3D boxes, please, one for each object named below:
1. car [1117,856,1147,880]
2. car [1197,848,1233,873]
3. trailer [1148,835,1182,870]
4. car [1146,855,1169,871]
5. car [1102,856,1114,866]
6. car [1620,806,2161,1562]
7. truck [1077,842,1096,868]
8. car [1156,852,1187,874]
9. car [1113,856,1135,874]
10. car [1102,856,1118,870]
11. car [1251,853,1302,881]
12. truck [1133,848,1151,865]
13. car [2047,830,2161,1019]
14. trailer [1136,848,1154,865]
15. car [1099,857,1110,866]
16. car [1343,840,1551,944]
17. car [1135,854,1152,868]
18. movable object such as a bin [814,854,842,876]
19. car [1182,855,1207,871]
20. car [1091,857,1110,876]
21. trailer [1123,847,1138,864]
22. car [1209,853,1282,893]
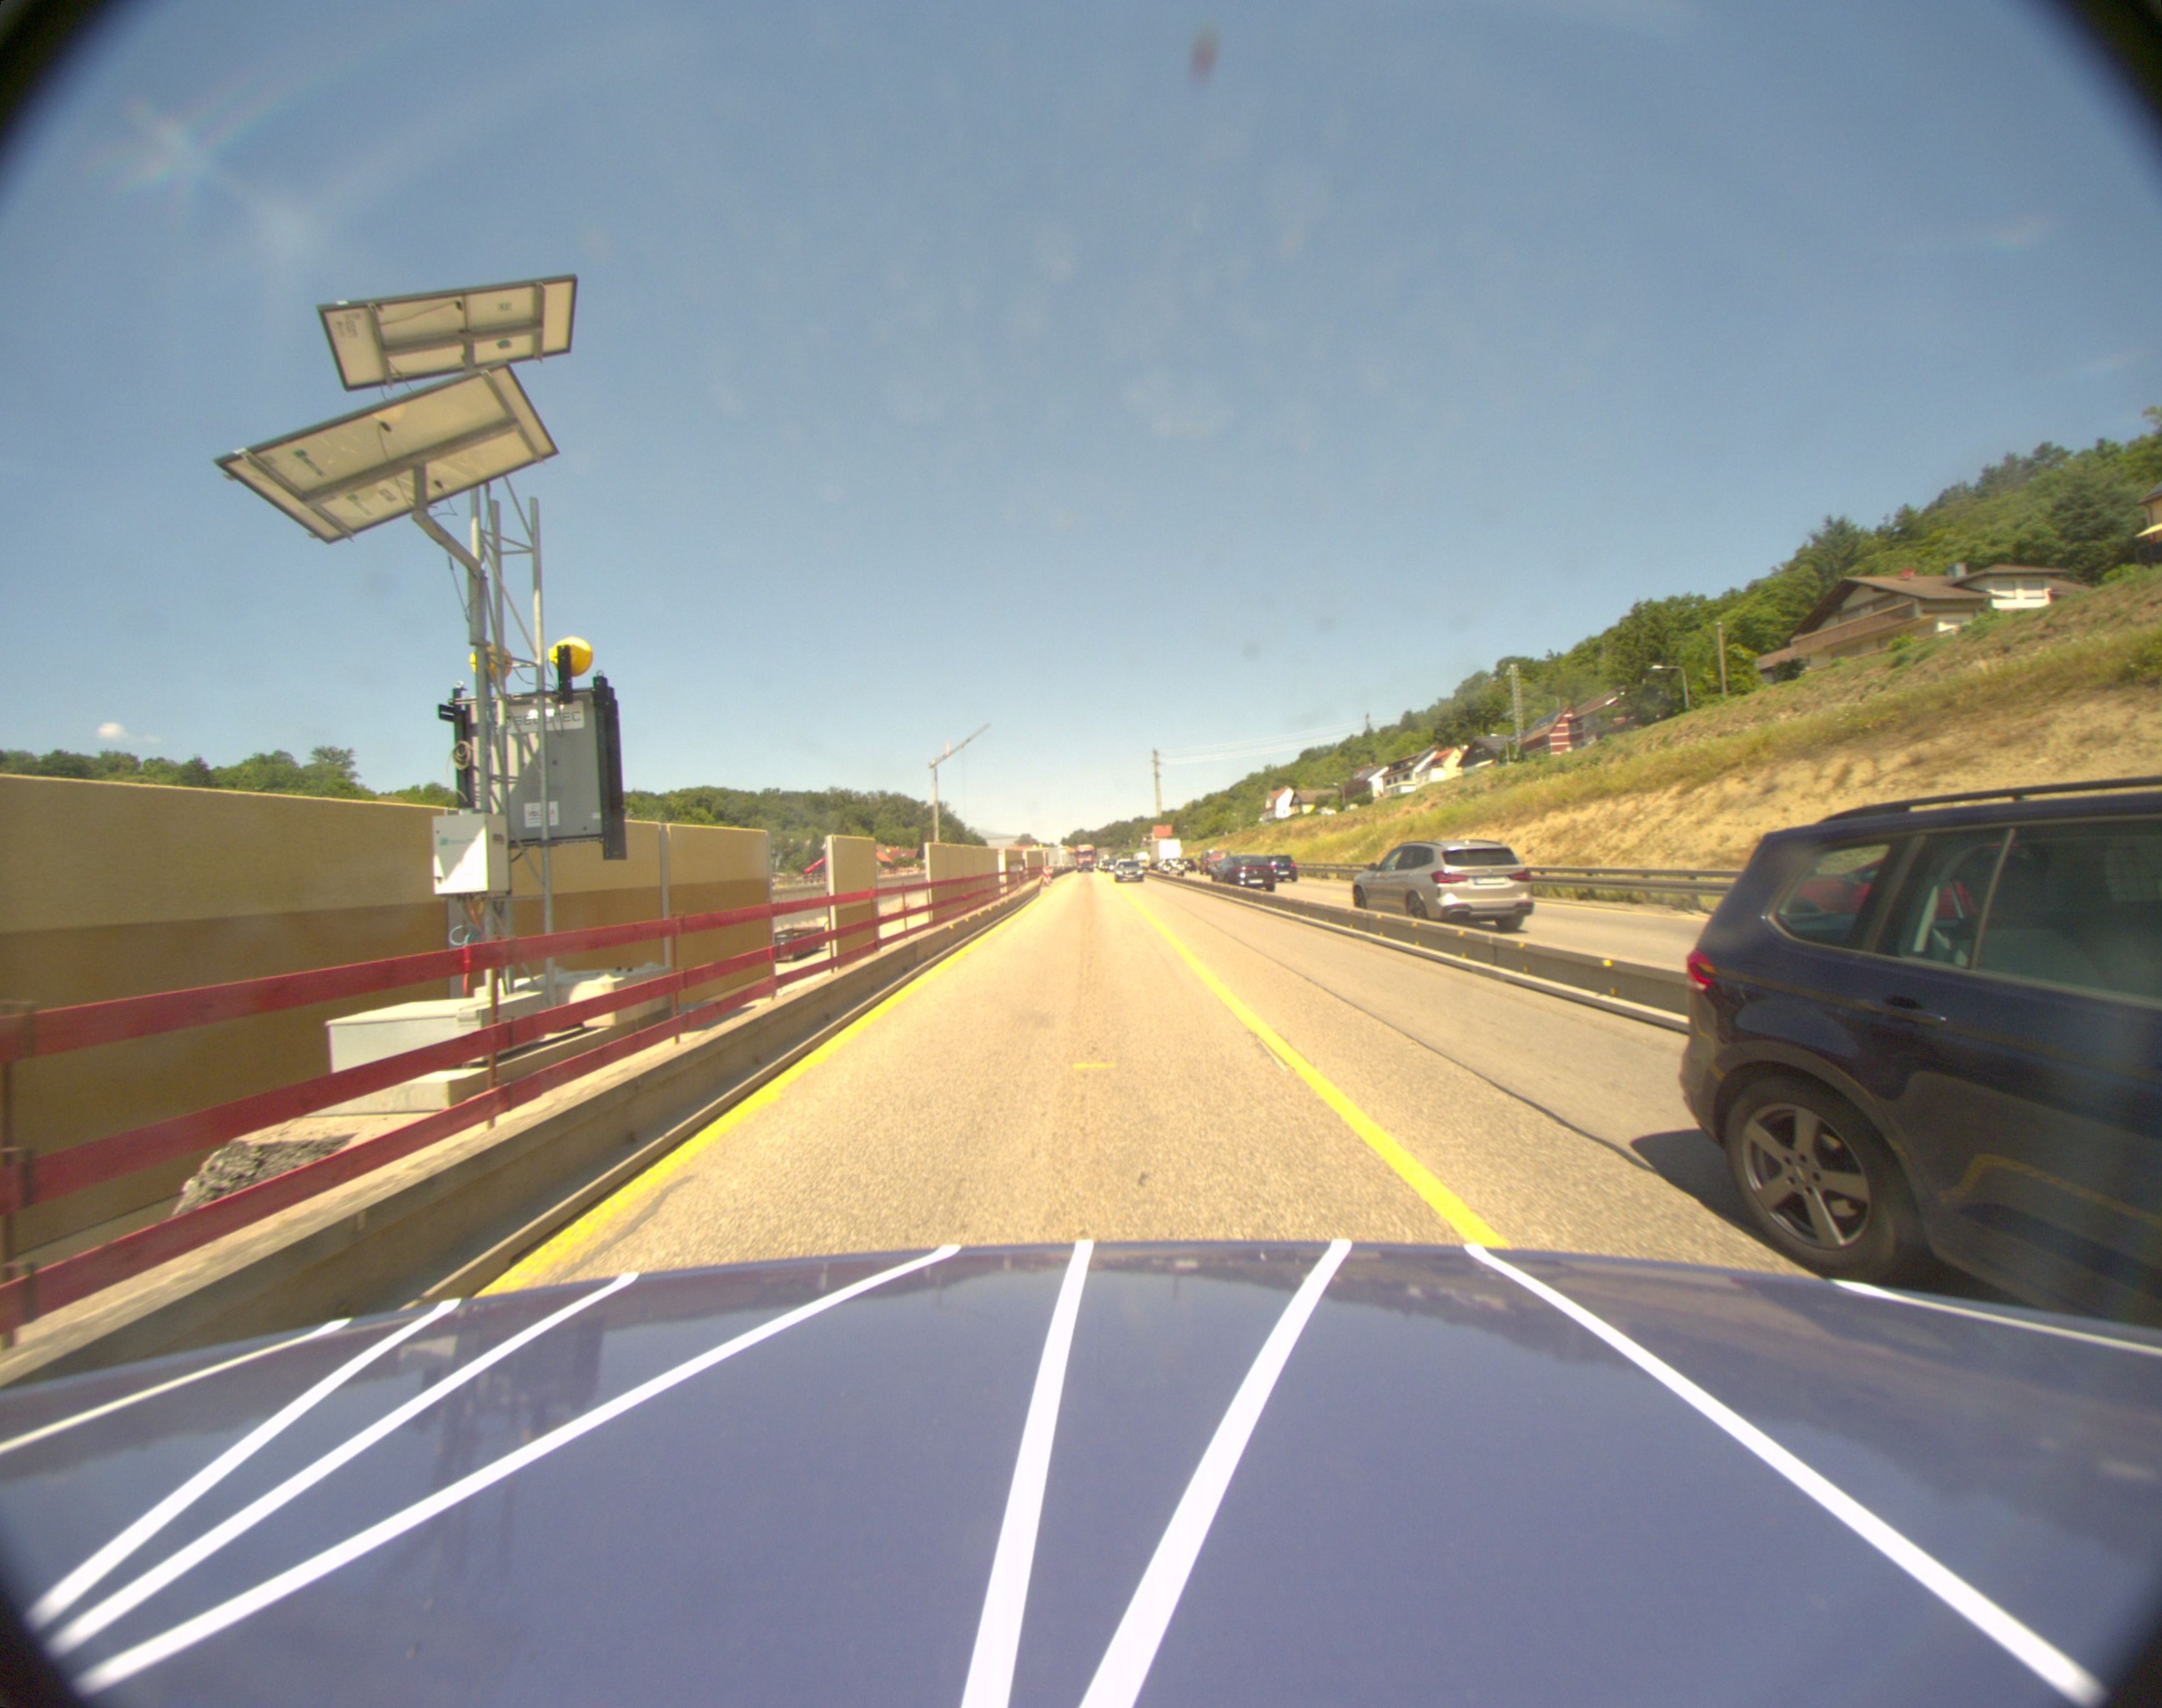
[{"bbox_3d":[3.316,0.905,50.126,1.780,1.447,4.336,-2,-1,1],"label":"car"},{"bbox_3d":[10.816,0.514,61.641,2.043,1.915,5.121,-1,0,0],"label":"car"},{"bbox_3d":[11.062,-0.145,101.394,2.793,4.157,13.979,-2,0,0],"label":"trailer"},{"bbox_3d":[7.012,0.833,69.991,1.714,1.410,4.242,-2,0,1],"label":"car"},{"bbox_3d":[4.017,1.058,113.303,1.780,1.485,4.336,-2,-1,1],"label":"car"},{"bbox_3d":[3.295,0.705,1.058,1.780,1.708,4.653,-2,-1,1],"label":"car"},{"bbox_3d":[0.905,0.197,115.047,2.605,3.703,10.537,-2,-1,1],"label":"truck"},{"bbox_3d":[7.159,0.725,60.747,1.844,1.644,5.371,-1,0,0],"label":"car"},{"bbox_3d":[3.788,0.979,67.816,1.780,1.447,4.336,-2,-1,1],"label":"car"},{"bbox_3d":[3.565,1.113,93.591,1.780,1.727,4.336,-2,-1,1],"label":"car"},{"bbox_3d":[10.588,0.666,41.436,1.714,1.410,4.242,-2,0,1],"label":"car"},{"bbox_3d":[11.725,0.497,146.119,2.733,3.124,8.960,-2,0,1],"label":"truck"},{"bbox_3d":[9.962,0.577,4.609,1.689,1.576,5.126,-2,0,0],"label":"car"},{"bbox_3d":[11.629,0.525,138.425,2.619,2.983,6.371,-2,0,1],"label":"trailer"},{"bbox_3d":[4.072,1.350,130.772,1.780,1.485,4.336,-2,-1,1],"label":"car"},{"bbox_3d":[6.917,0.634,15.024,1.849,1.655,4.688,-2,0,1],"label":"car"},{"bbox_3d":[7.959,0.839,97.149,1.837,1.656,4.414,-2,0,0],"label":"car"},{"bbox_3d":[-36.946,1.600,111.195,2.202,3.065,4.918,-2,0,1],"label":"movable object such as a bin"},{"bbox_3d":[11.972,0.914,80.349,1.998,1.498,4.718,-2,0,0],"label":"car"},{"bbox_3d":[1.883,1.210,73.235,1.780,1.682,4.336,-2,-1,1],"label":"car"},{"bbox_3d":[12.467,0.435,191.593,2.920,3.915,10.527,-2,0,1],"label":"trailer"},{"bbox_3d":[6.766,0.731,31.799,1.960,1.490,5.090,-2,0,1],"label":"car"}]
